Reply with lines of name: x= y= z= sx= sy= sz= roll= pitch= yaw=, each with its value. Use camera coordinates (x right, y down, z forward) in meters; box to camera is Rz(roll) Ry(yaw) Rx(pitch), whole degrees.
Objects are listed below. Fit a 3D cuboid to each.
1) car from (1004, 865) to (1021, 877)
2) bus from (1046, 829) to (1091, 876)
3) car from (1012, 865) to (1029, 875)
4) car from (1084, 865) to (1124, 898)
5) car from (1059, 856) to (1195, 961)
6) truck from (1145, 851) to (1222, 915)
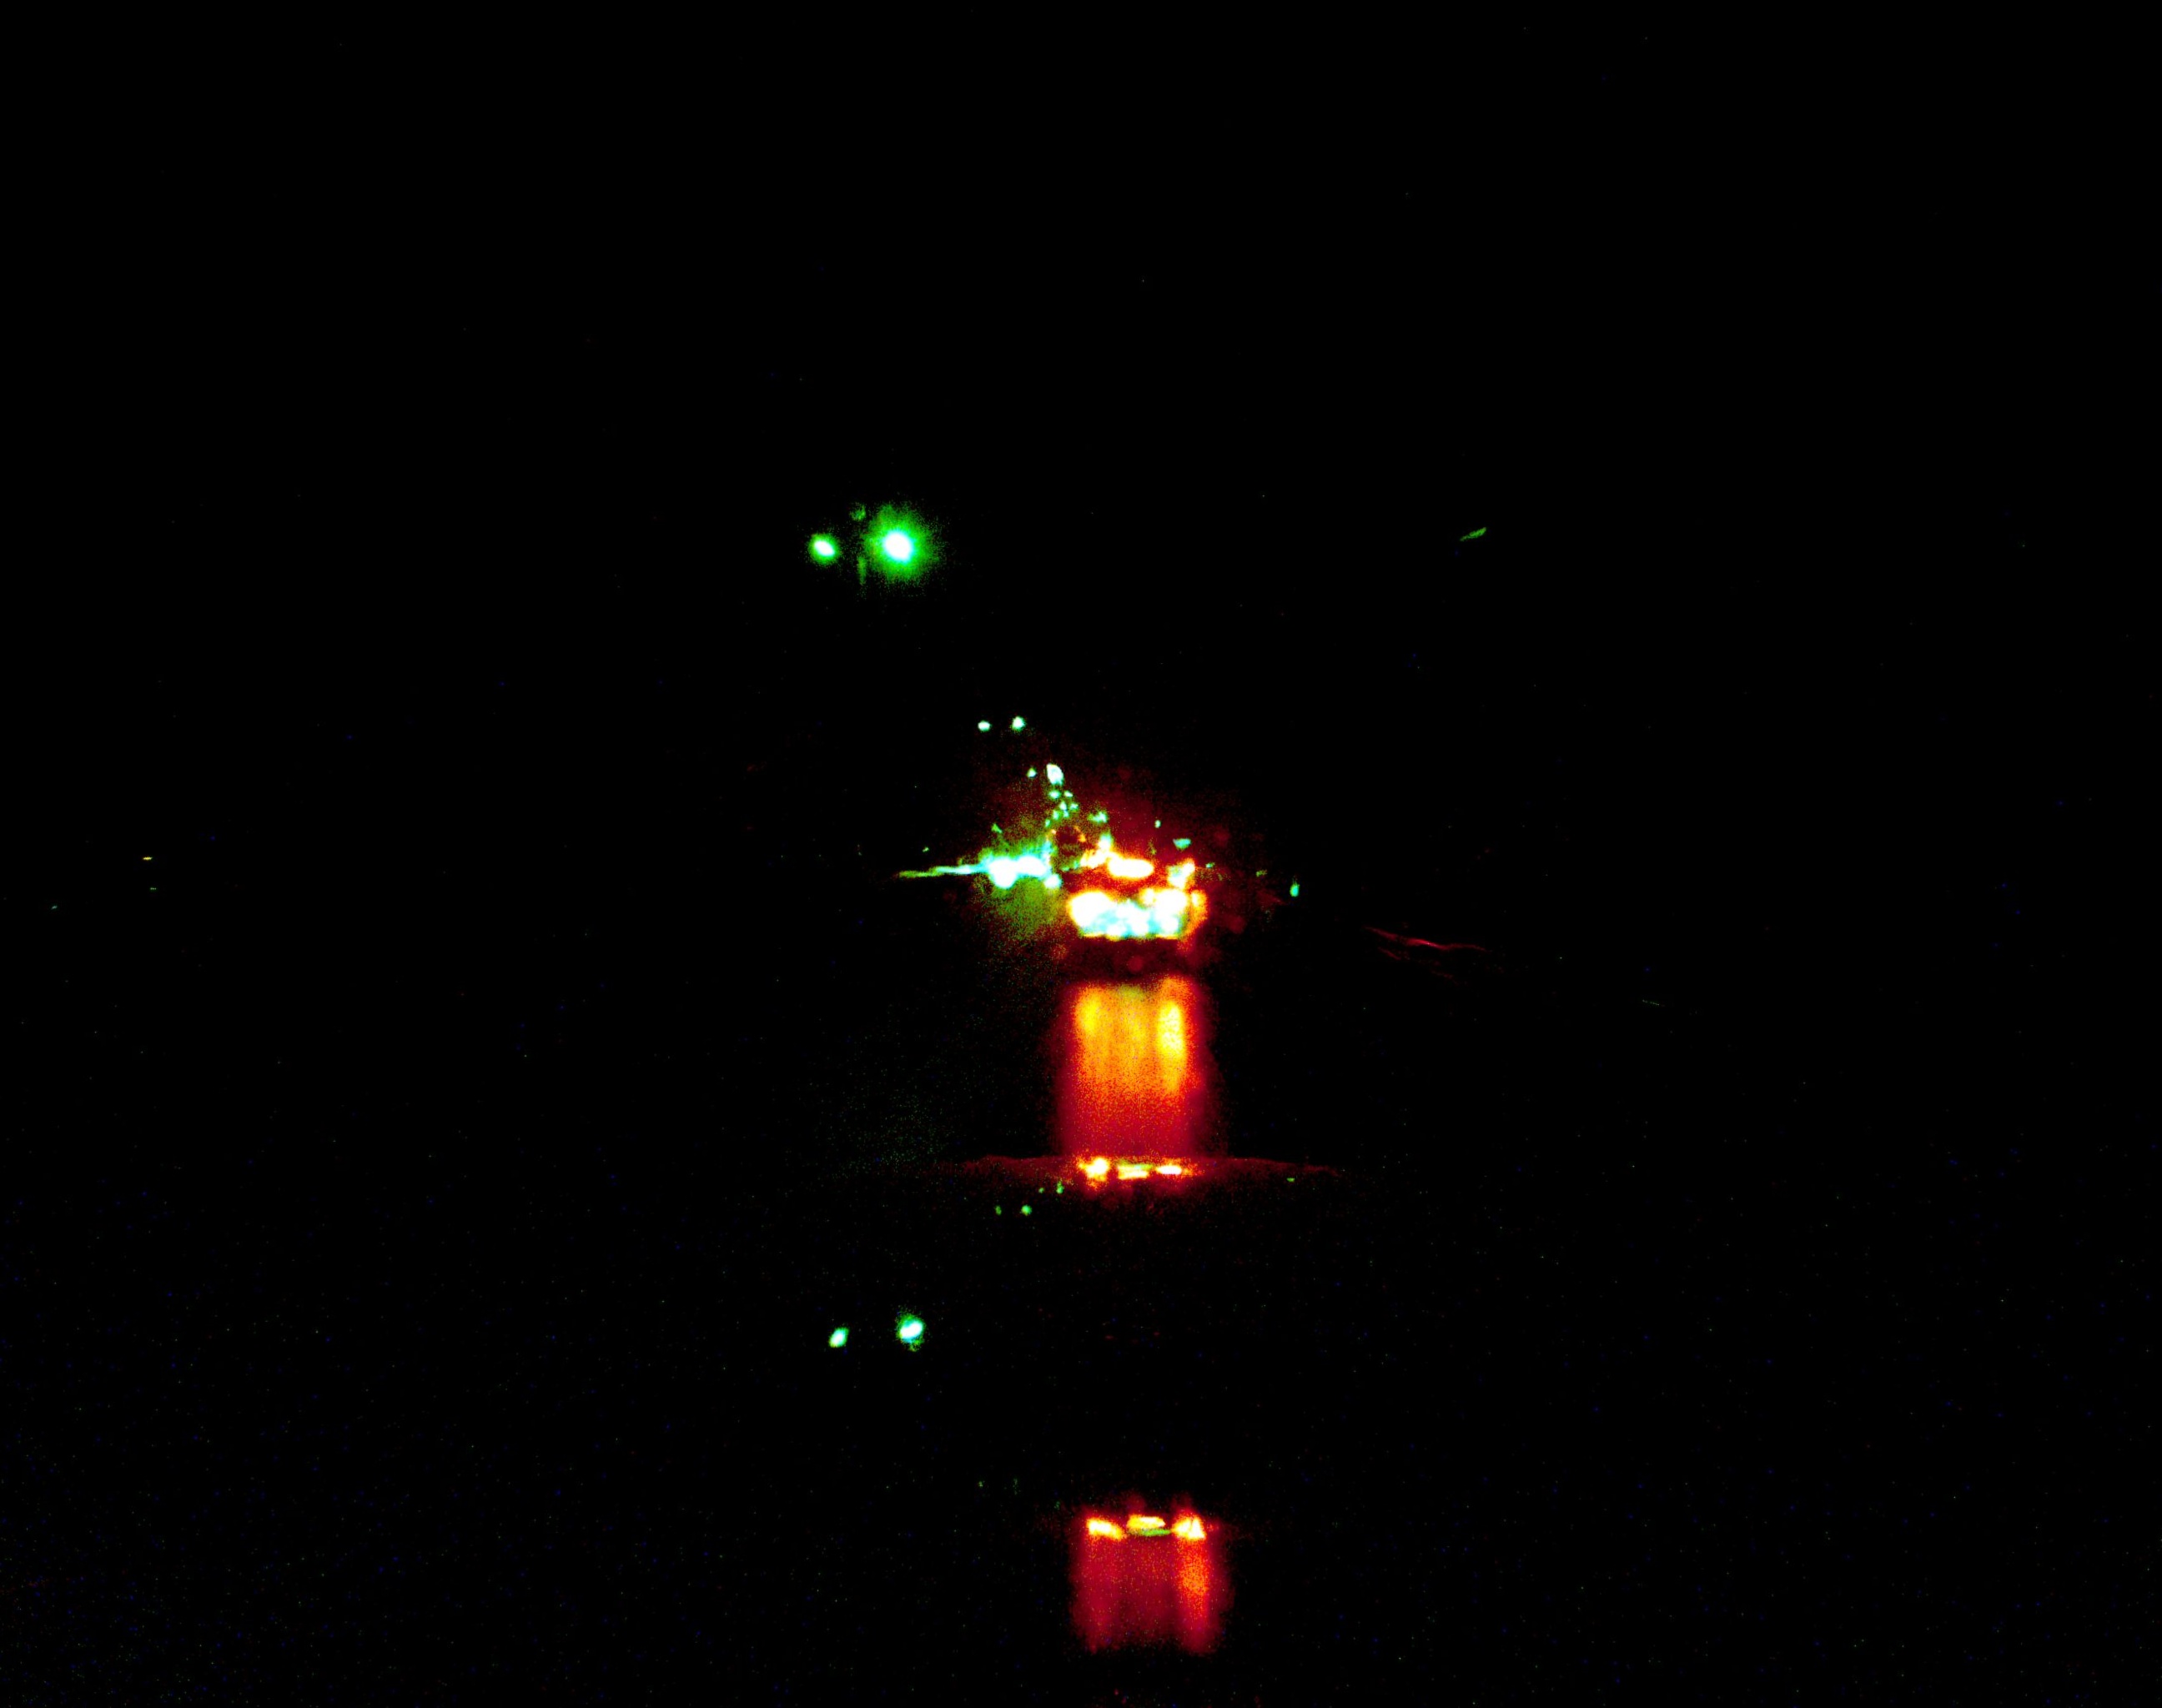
car: x=-8.874 y=2.191 z=105.656 sx=1.594 sy=1.552 sz=3.836 roll=0 pitch=-1 yaw=3
bus: x=-0.762 y=-0.119 z=58.261 sx=2.733 sy=3.123 sz=9.205 roll=0 pitch=0 yaw=2
car: x=-9.459 y=2.505 z=127.581 sx=2.016 sy=1.502 sz=4.898 roll=0 pitch=-1 yaw=2
car: x=1.152 y=1.294 z=39.660 sx=1.814 sy=1.461 sz=3.718 roll=-1 pitch=-1 yaw=3
car: x=0.897 y=0.805 z=13.604 sx=1.934 sy=1.491 sz=3.723 roll=-1 pitch=-1 yaw=7
truck: x=4.542 y=1.231 z=36.000 sx=3.053 sy=2.529 sz=7.180 roll=0 pitch=-1 yaw=7
